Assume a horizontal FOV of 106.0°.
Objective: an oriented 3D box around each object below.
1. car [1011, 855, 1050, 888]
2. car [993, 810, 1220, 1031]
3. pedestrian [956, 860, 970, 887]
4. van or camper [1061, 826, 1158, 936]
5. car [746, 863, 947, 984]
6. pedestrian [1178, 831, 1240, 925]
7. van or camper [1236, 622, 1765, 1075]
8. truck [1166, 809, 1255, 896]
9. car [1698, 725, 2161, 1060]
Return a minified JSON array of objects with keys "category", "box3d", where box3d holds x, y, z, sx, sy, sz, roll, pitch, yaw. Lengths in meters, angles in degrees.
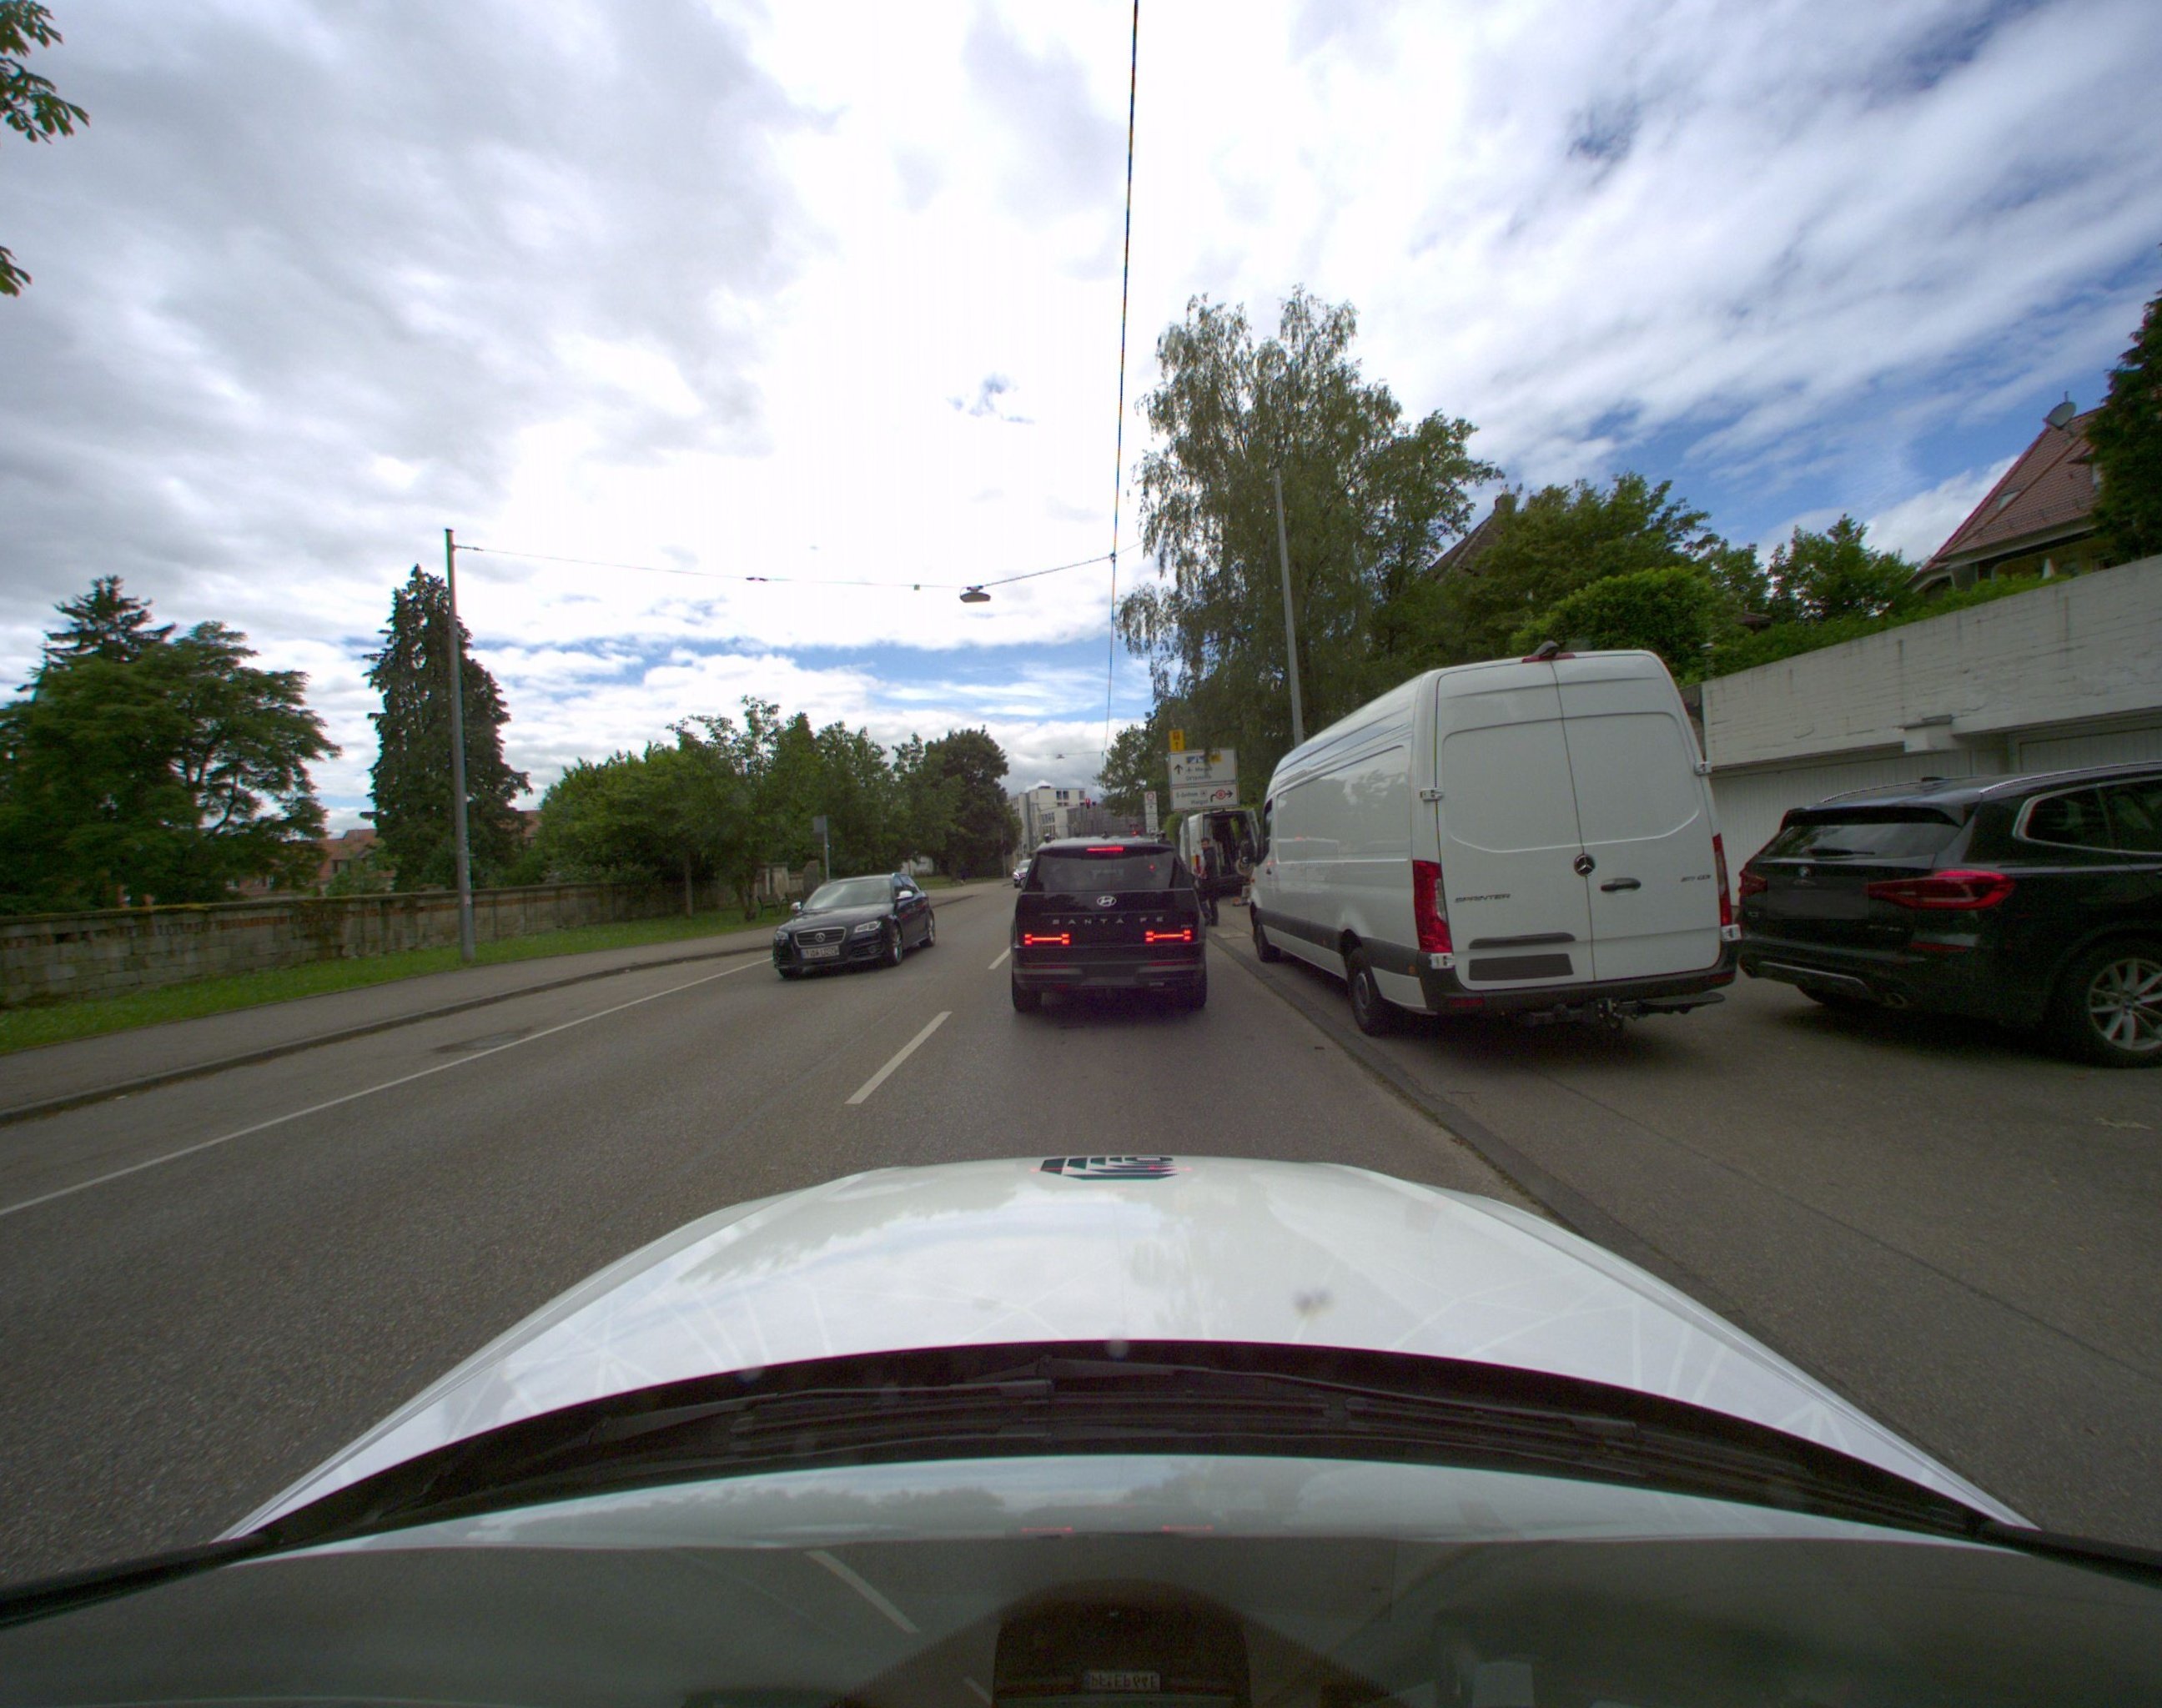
[{"category":"car","box3d":[-2.832,0.950,46.408,1.779,1.653,4.120,-6,0,0]},{"category":"car","box3d":[0.277,0.568,8.913,1.883,1.819,4.002,-2,0,2]},{"category":"pedestrian","box3d":[-7.709,1.293,53.198,0.737,1.715,0.791,-3,0,-5]},{"category":"van or camper","box3d":[0.616,0.514,17.581,1.748,2.013,4.002,-3,0,2]},{"category":"car","box3d":[-3.580,0.986,13.299,1.852,1.453,4.112,-6,0,2]},{"category":"pedestrian","box3d":[2.550,0.468,16.235,0.861,1.797,0.764,-3,-1,44]},{"category":"van or camper","box3d":[3.135,-0.028,8.168,1.986,2.620,6.543,-3,0,2]},{"category":"truck","box3d":[4.330,-0.027,28.065,1.937,2.561,5.213,-5,-1,-1]},{"category":"car","box3d":[6.864,0.126,5.199,4.398,1.750,1.739,-3,0,3]}]
